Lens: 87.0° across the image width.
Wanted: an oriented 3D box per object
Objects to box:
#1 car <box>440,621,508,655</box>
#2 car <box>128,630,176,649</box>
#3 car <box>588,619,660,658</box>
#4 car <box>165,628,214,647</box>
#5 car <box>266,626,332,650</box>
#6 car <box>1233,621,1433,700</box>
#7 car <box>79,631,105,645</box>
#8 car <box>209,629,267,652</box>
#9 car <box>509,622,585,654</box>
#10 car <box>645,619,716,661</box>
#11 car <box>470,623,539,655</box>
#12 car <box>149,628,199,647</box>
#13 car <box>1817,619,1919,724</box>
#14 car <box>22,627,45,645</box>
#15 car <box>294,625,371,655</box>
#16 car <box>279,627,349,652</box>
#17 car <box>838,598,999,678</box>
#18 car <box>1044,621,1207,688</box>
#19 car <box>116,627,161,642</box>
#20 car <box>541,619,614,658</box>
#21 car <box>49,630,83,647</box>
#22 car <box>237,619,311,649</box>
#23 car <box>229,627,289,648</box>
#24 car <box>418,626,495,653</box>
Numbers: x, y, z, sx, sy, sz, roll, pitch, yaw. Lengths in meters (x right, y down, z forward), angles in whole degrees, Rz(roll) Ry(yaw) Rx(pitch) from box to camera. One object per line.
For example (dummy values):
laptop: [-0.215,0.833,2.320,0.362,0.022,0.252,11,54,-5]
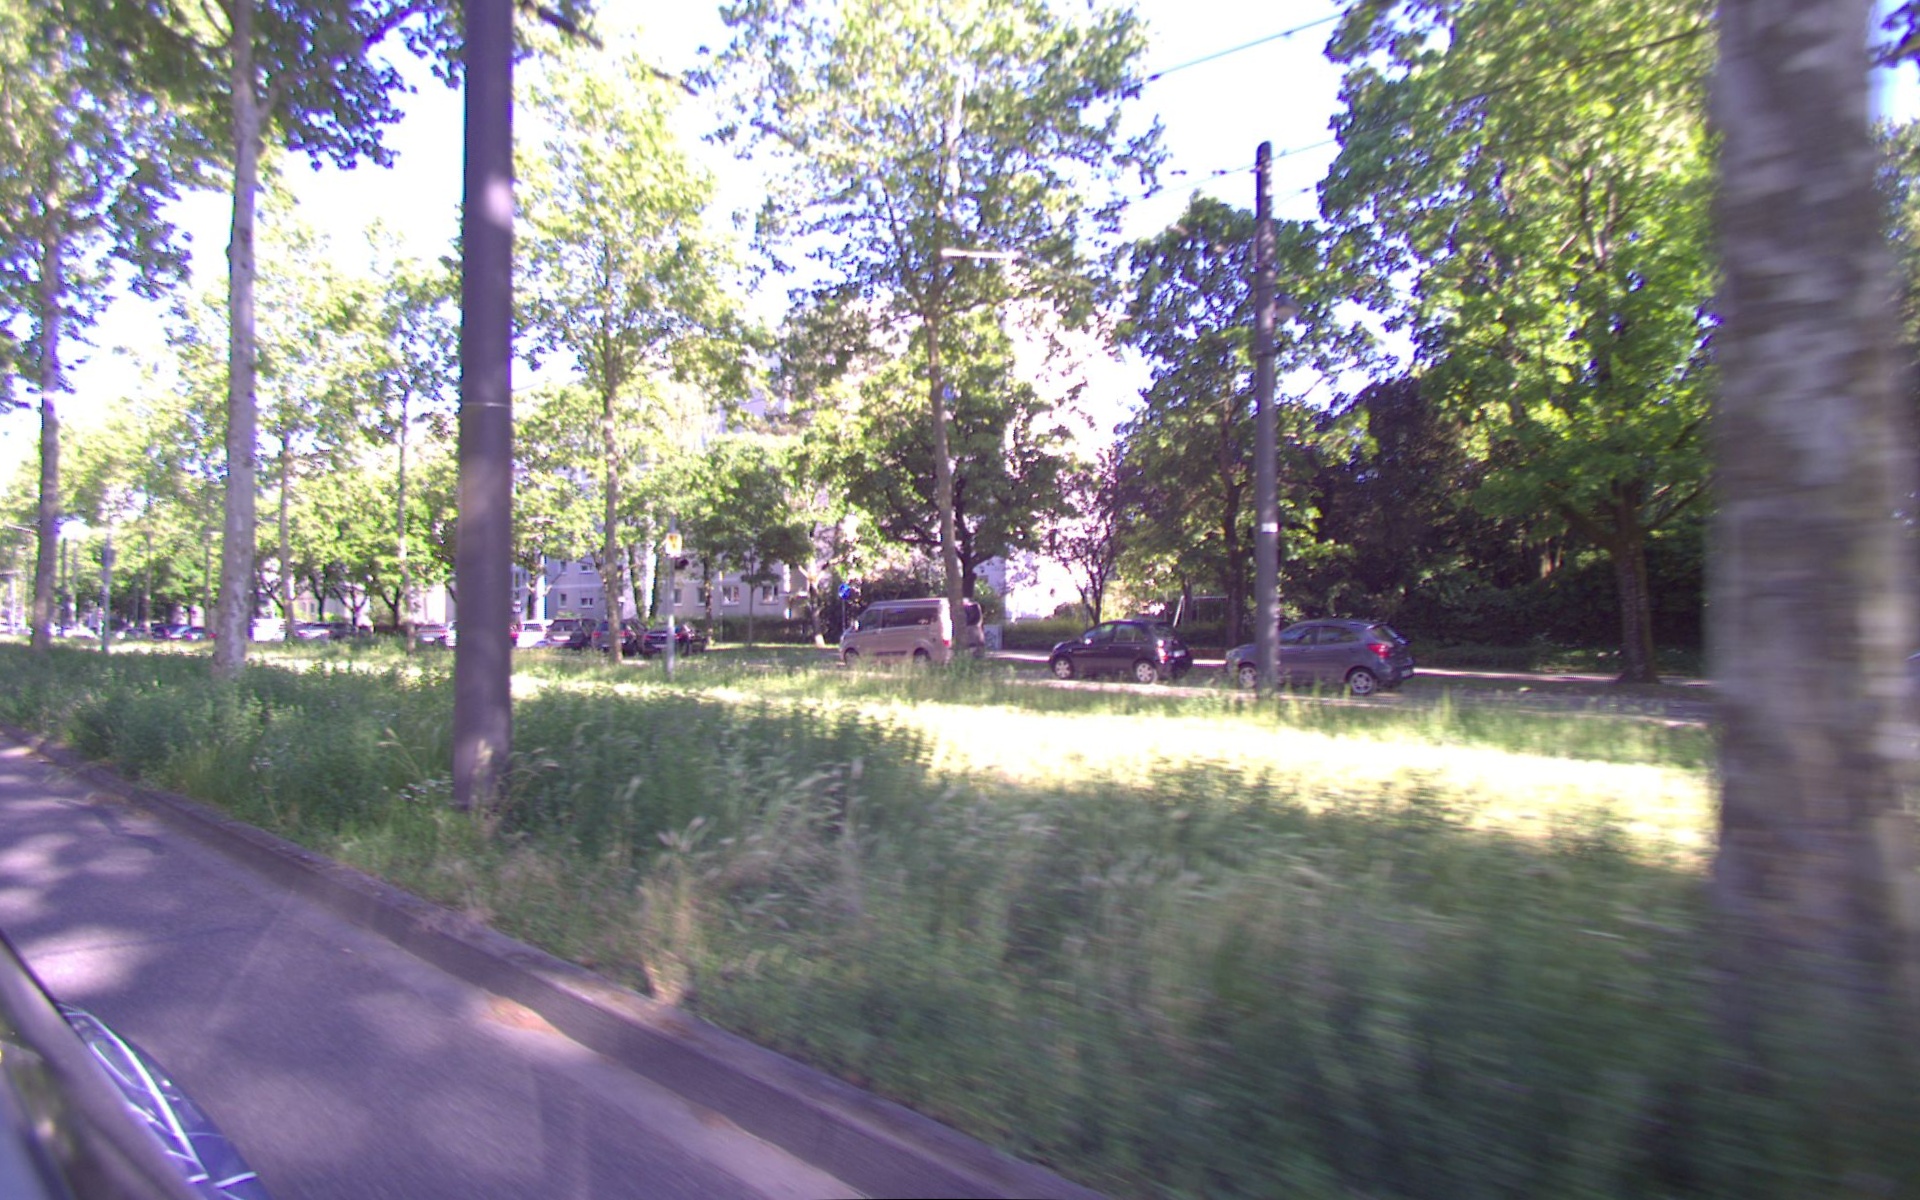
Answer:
car: [-25.365,1.976,52.965,1.761,1.688,3.981,0,-2,-2]
car: [-75.232,3.678,94.270,1.625,1.658,4.093,2,-2,-9]
car: [-14.309,1.641,43.381,1.769,1.580,4.488,0,-2,-2]
car: [-68.799,3.328,90.431,1.626,1.487,4.091,-4,-1,-7]
car: [-45.786,2.616,70.166,1.560,1.443,4.077,-2,0,6]
car: [7.937,1.227,21.698,3.574,1.464,1.852,-1,1,42]
car: [-100.647,4.413,117.336,4.199,1.557,1.695,-2,-3,42]
car: [-55.861,3.124,78.390,1.628,1.658,4.086,-3,-2,-1]
car: [-19.968,1.823,49.109,1.597,1.493,4.481,0,-2,4]
car: [-11.036,1.579,40.266,1.769,1.580,4.488,0,-2,-2]
car: [-22.376,1.900,49.906,1.769,1.499,3.923,0,-2,-2]
car: [-71.991,3.419,92.754,1.626,1.658,4.090,-3,-2,-6]
car: [15.504,1.053,15.159,3.999,1.464,1.972,-1,1,43]
car: [-121.422,4.731,132.665,3.930,2.279,1.696,-2,-3,40]
car: [-40.388,2.563,65.268,1.972,1.619,4.076,-9,-2,7]
car: [-42.962,2.627,67.448,1.796,1.542,4.077,-2,-2,6]
car: [-1.294,1.059,29.350,4.914,2.109,1.628,-1,1,43]
car: [4.054,1.297,25.044,3.663,1.464,1.628,-1,1,43]
car: [-83.227,3.506,102.570,1.811,1.446,3.832,0,-2,-9]
car: [-17.296,1.731,46.022,1.769,1.688,4.488,0,-2,-2]
car: [-88.331,3.774,99.971,4.081,1.517,1.905,-2,0,39]
car: [-48.515,2.409,71.731,1.867,2.022,4.795,-2,-2,2]
car: [-50.807,2.707,73.471,1.557,1.443,4.086,1,-2,-1]
car: [-27.293,2.123,55.025,1.774,1.348,4.122,0,-2,7]
